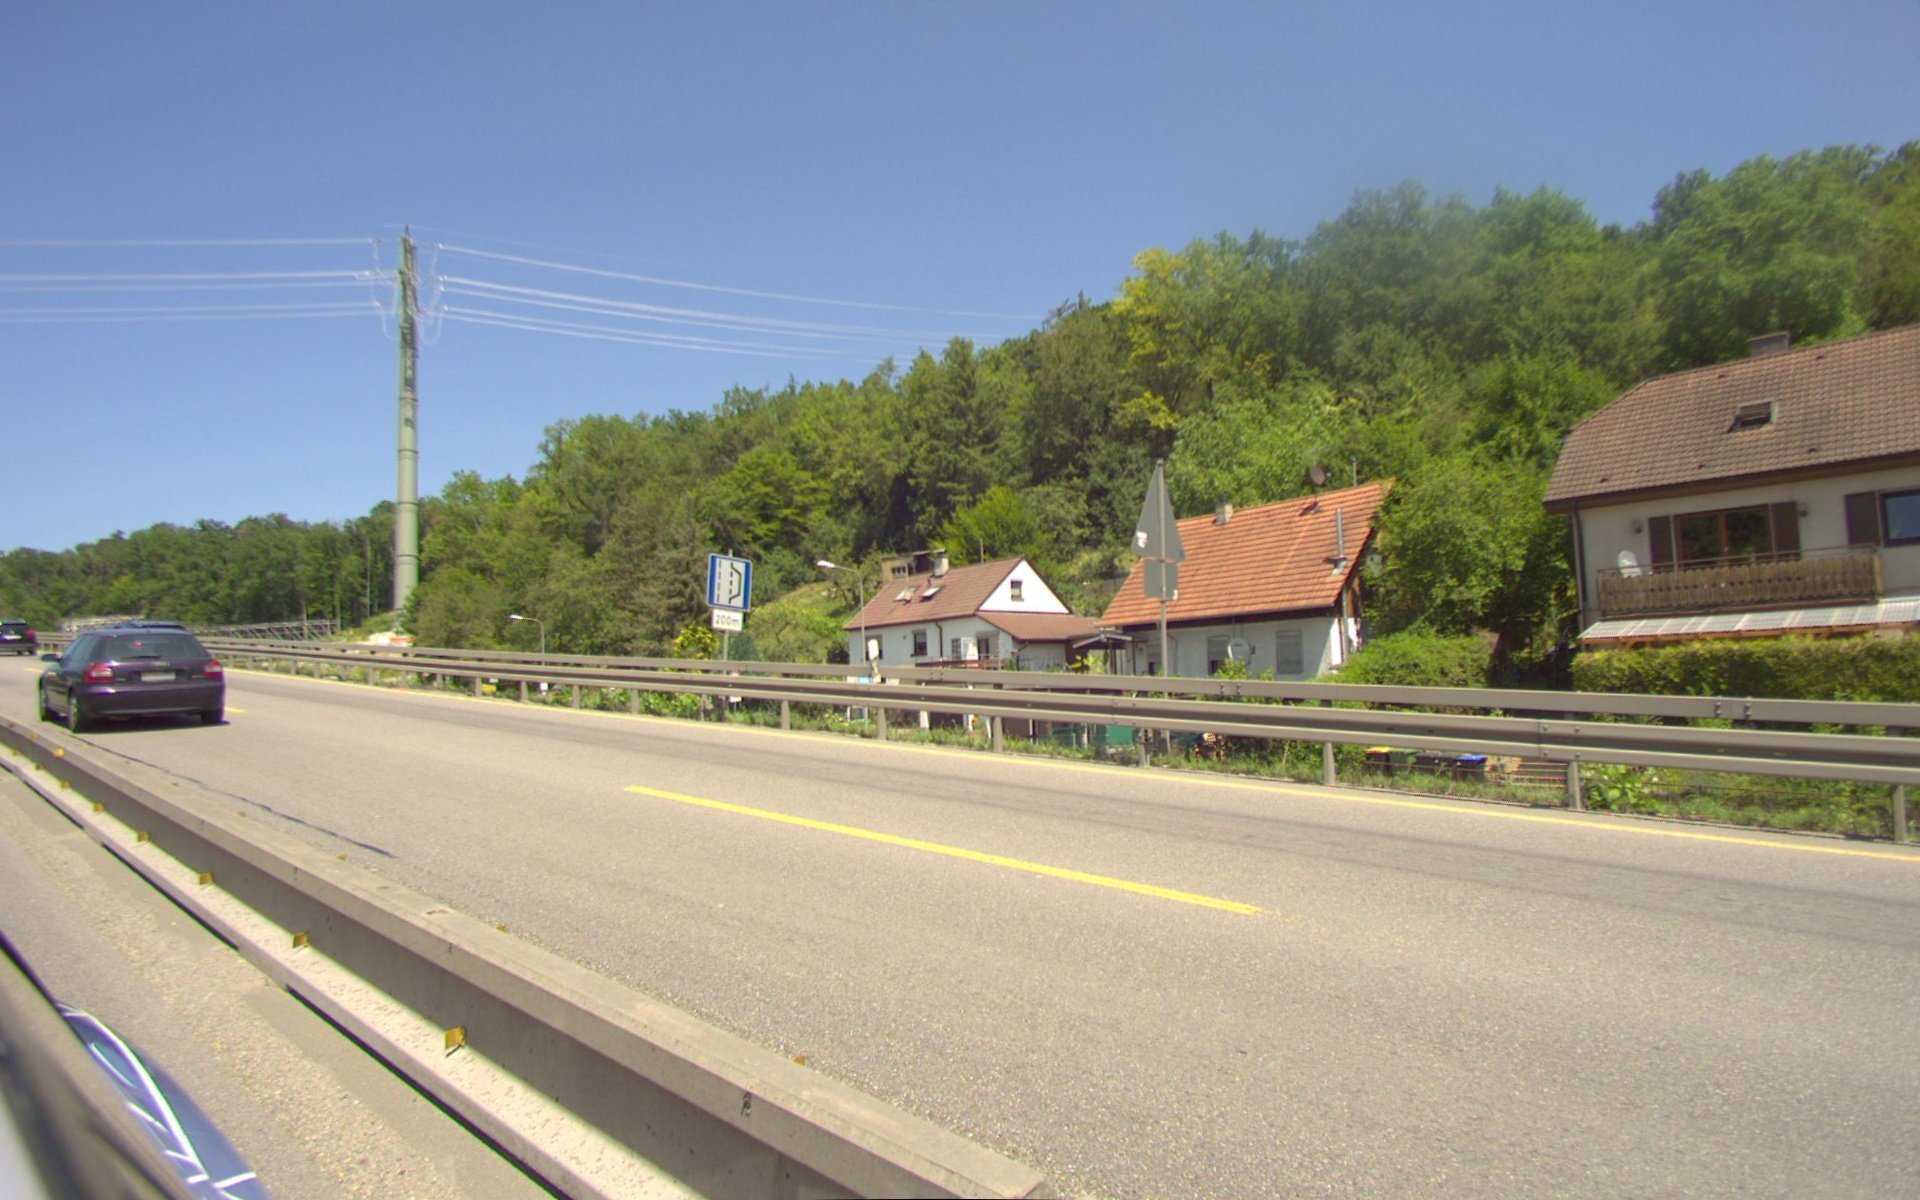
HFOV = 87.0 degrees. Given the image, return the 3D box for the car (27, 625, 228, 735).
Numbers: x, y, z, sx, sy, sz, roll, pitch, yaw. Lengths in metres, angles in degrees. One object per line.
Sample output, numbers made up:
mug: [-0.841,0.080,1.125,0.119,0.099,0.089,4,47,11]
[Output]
car: [-12.383,1.096,14.973,3.999,1.419,1.700,-2,-3,42]

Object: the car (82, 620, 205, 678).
car: [-22.281,1.268,27.555,4.684,1.429,1.822,-1,-2,41]

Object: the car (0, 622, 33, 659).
car: [-40.455,1.737,42.576,3.998,1.501,1.714,-3,-3,41]
